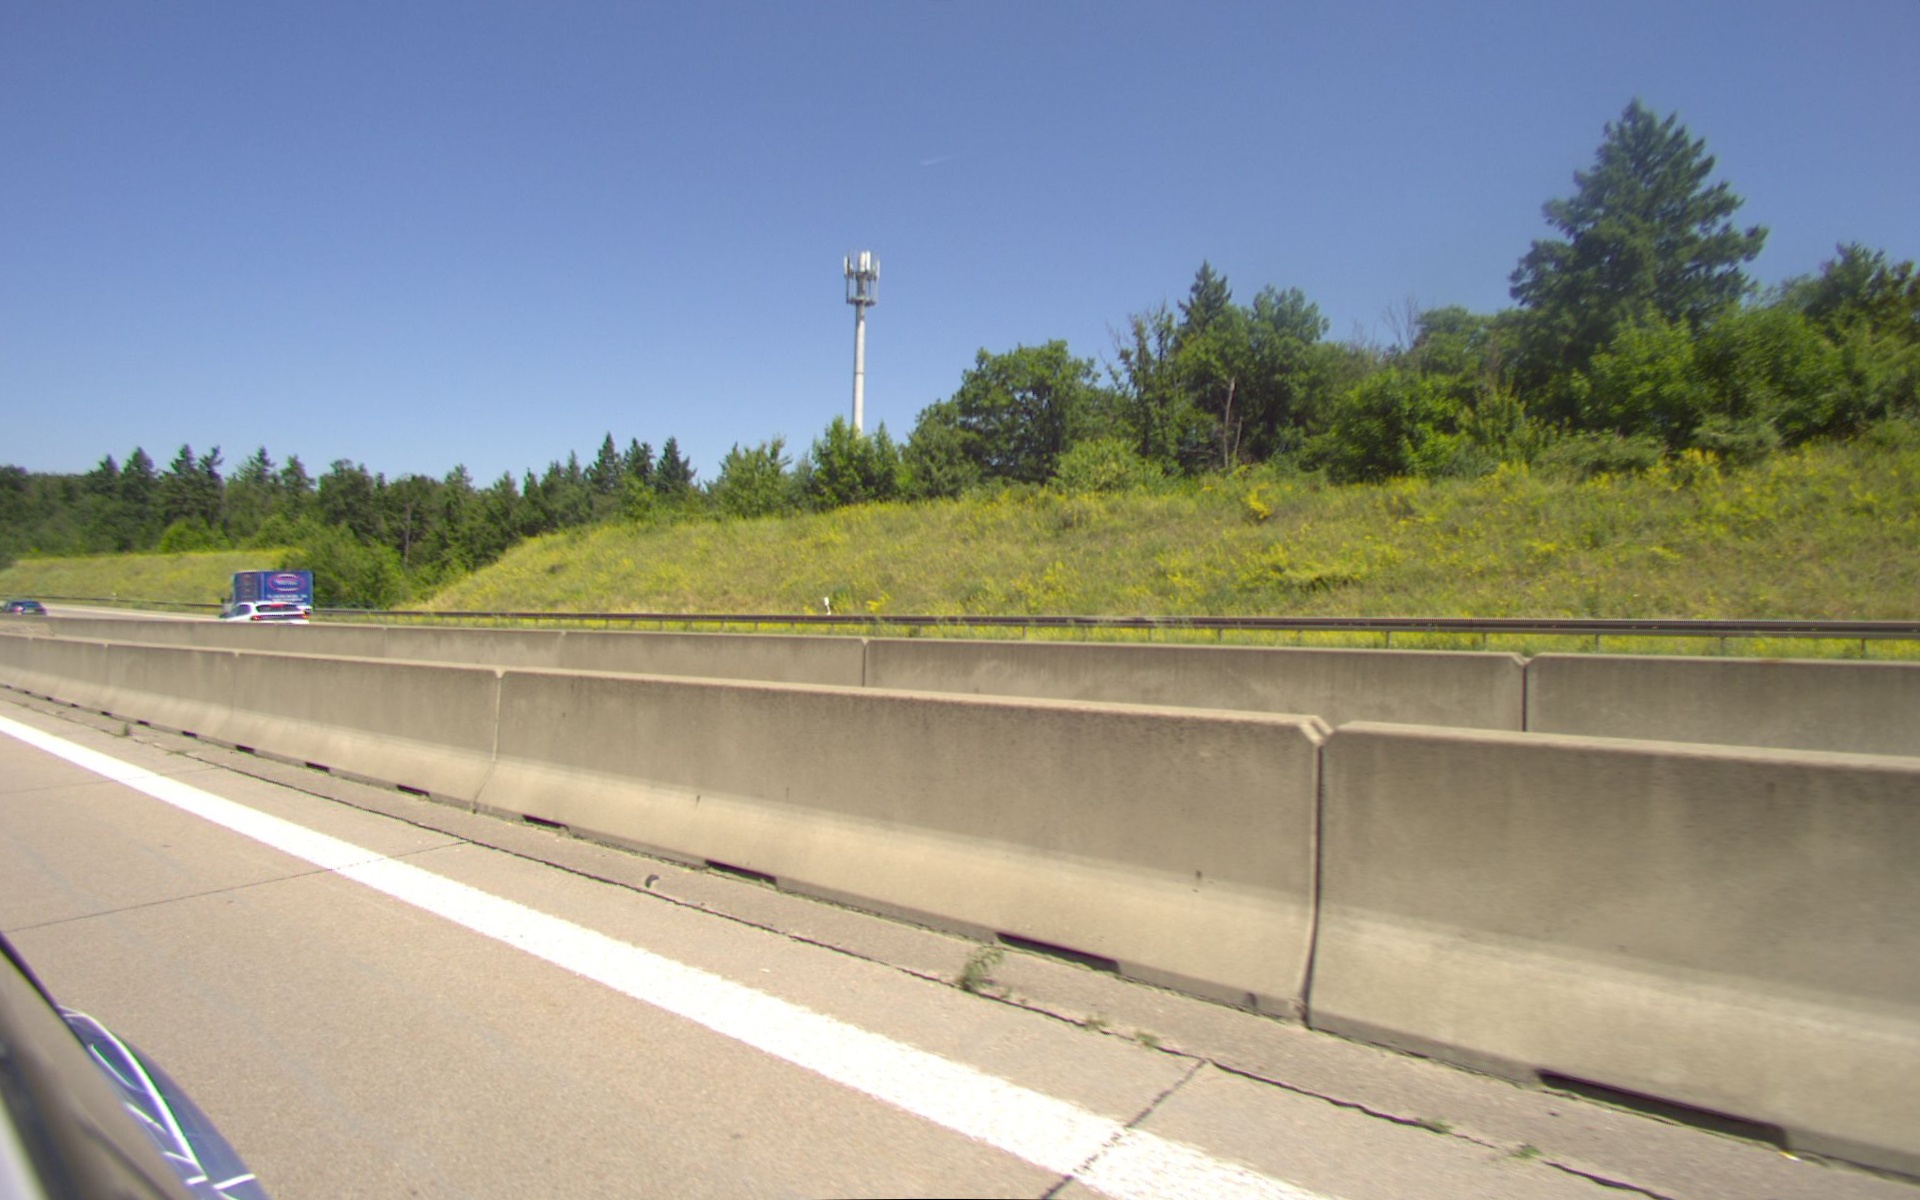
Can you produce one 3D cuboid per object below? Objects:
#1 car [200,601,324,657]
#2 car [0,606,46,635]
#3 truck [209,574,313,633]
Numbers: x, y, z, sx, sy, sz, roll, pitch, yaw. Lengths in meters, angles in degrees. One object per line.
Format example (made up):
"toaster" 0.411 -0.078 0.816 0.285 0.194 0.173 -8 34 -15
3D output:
"car" -22.125 0.867 32.037 4.405 1.617 1.975 -1 1 37
"car" -55.684 1.203 59.562 4.651 1.617 1.975 -1 1 38
"truck" -38.025 0.176 54.967 7.827 3.011 2.537 -1 0 39
